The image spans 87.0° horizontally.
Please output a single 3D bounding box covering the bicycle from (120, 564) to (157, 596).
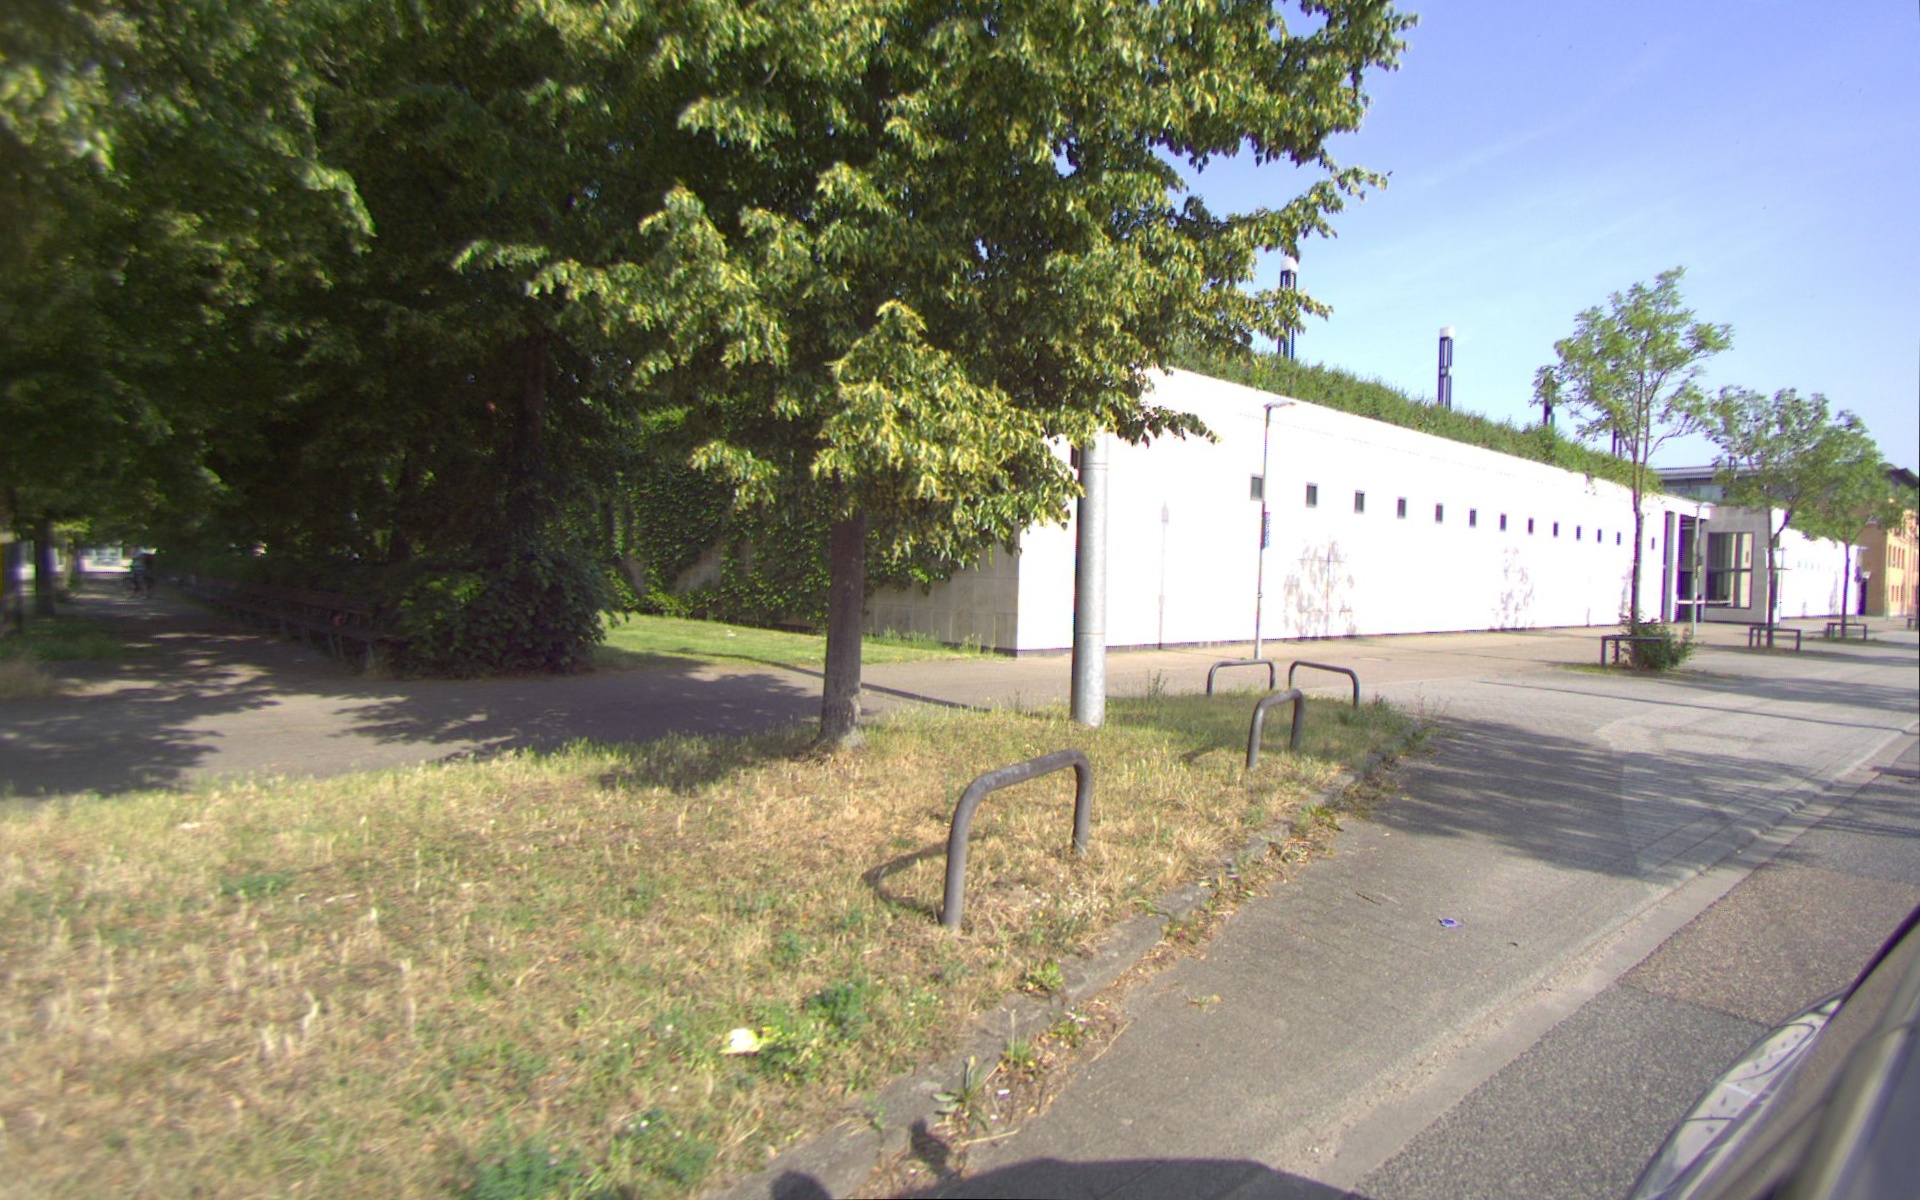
[{"bbox_3d":[-26.864,-0.640,33.069,0.853,0.990,1.796,-1,0,-42],"label":"bicycle"}]

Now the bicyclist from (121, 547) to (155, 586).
[{"bbox_3d":[-26.856,-1.075,33.057,0.817,1.252,0.722,0,0,-42],"label":"bicyclist"}]
